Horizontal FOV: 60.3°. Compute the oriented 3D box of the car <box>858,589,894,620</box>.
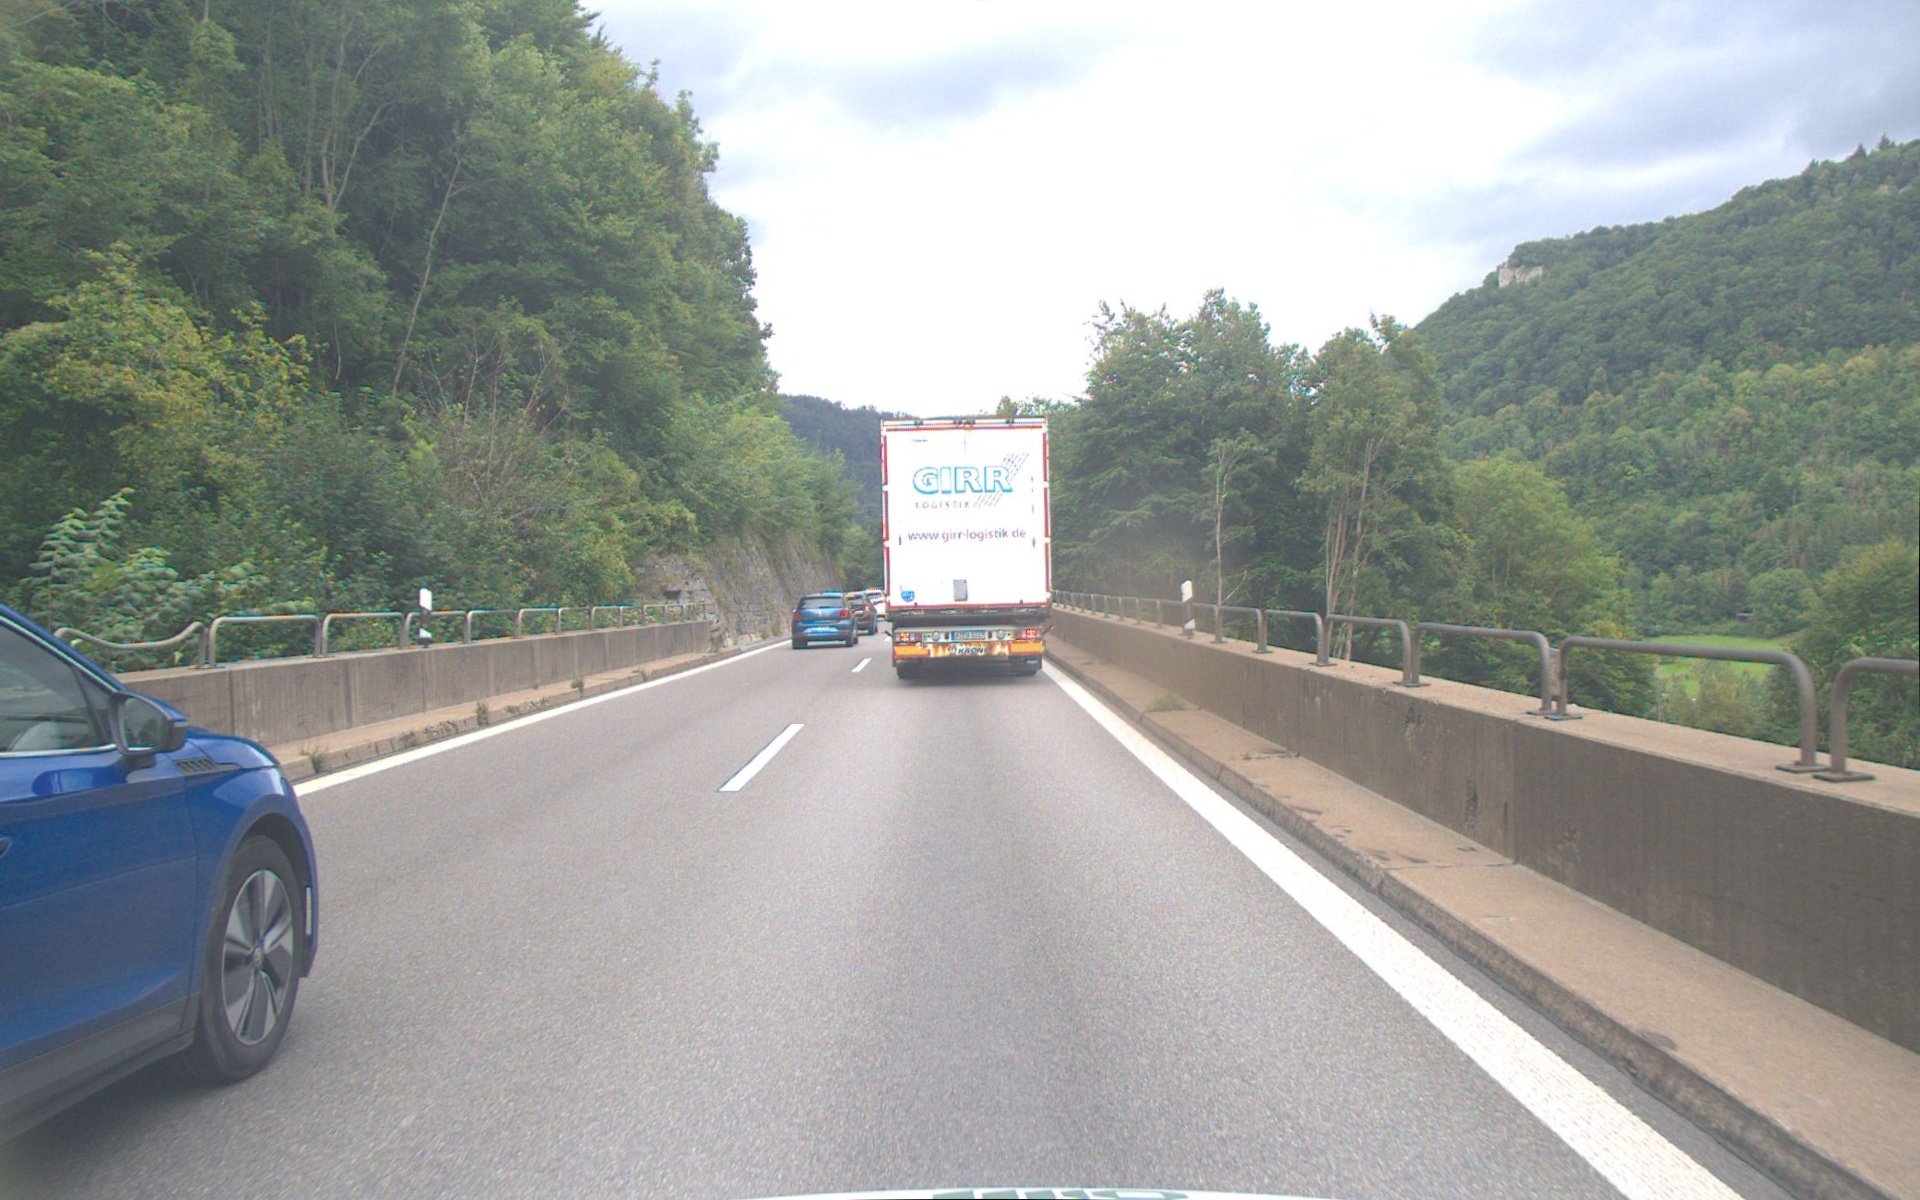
[{"bbox_3d":[-4.269,0.207,84.118,1.710,1.512,3.999,0,0,-1],"label":"car"}]

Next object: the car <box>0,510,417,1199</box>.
[{"bbox_3d":[-3.018,0.625,3.664,1.953,1.660,5.008,1,0,0],"label":"car"}]

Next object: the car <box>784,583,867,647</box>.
[{"bbox_3d":[-3.615,0.395,45.134,1.953,1.624,4.353,1,0,-1],"label":"car"}]

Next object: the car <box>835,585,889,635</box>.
[{"bbox_3d":[-3.325,0.357,56.889,1.710,1.614,3.998,1,-1,-2],"label":"car"}]

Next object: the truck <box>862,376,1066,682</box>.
[{"bbox_3d":[0.023,-1.101,32.092,3.021,4.542,15.154,0,0,0],"label":"truck"}]
